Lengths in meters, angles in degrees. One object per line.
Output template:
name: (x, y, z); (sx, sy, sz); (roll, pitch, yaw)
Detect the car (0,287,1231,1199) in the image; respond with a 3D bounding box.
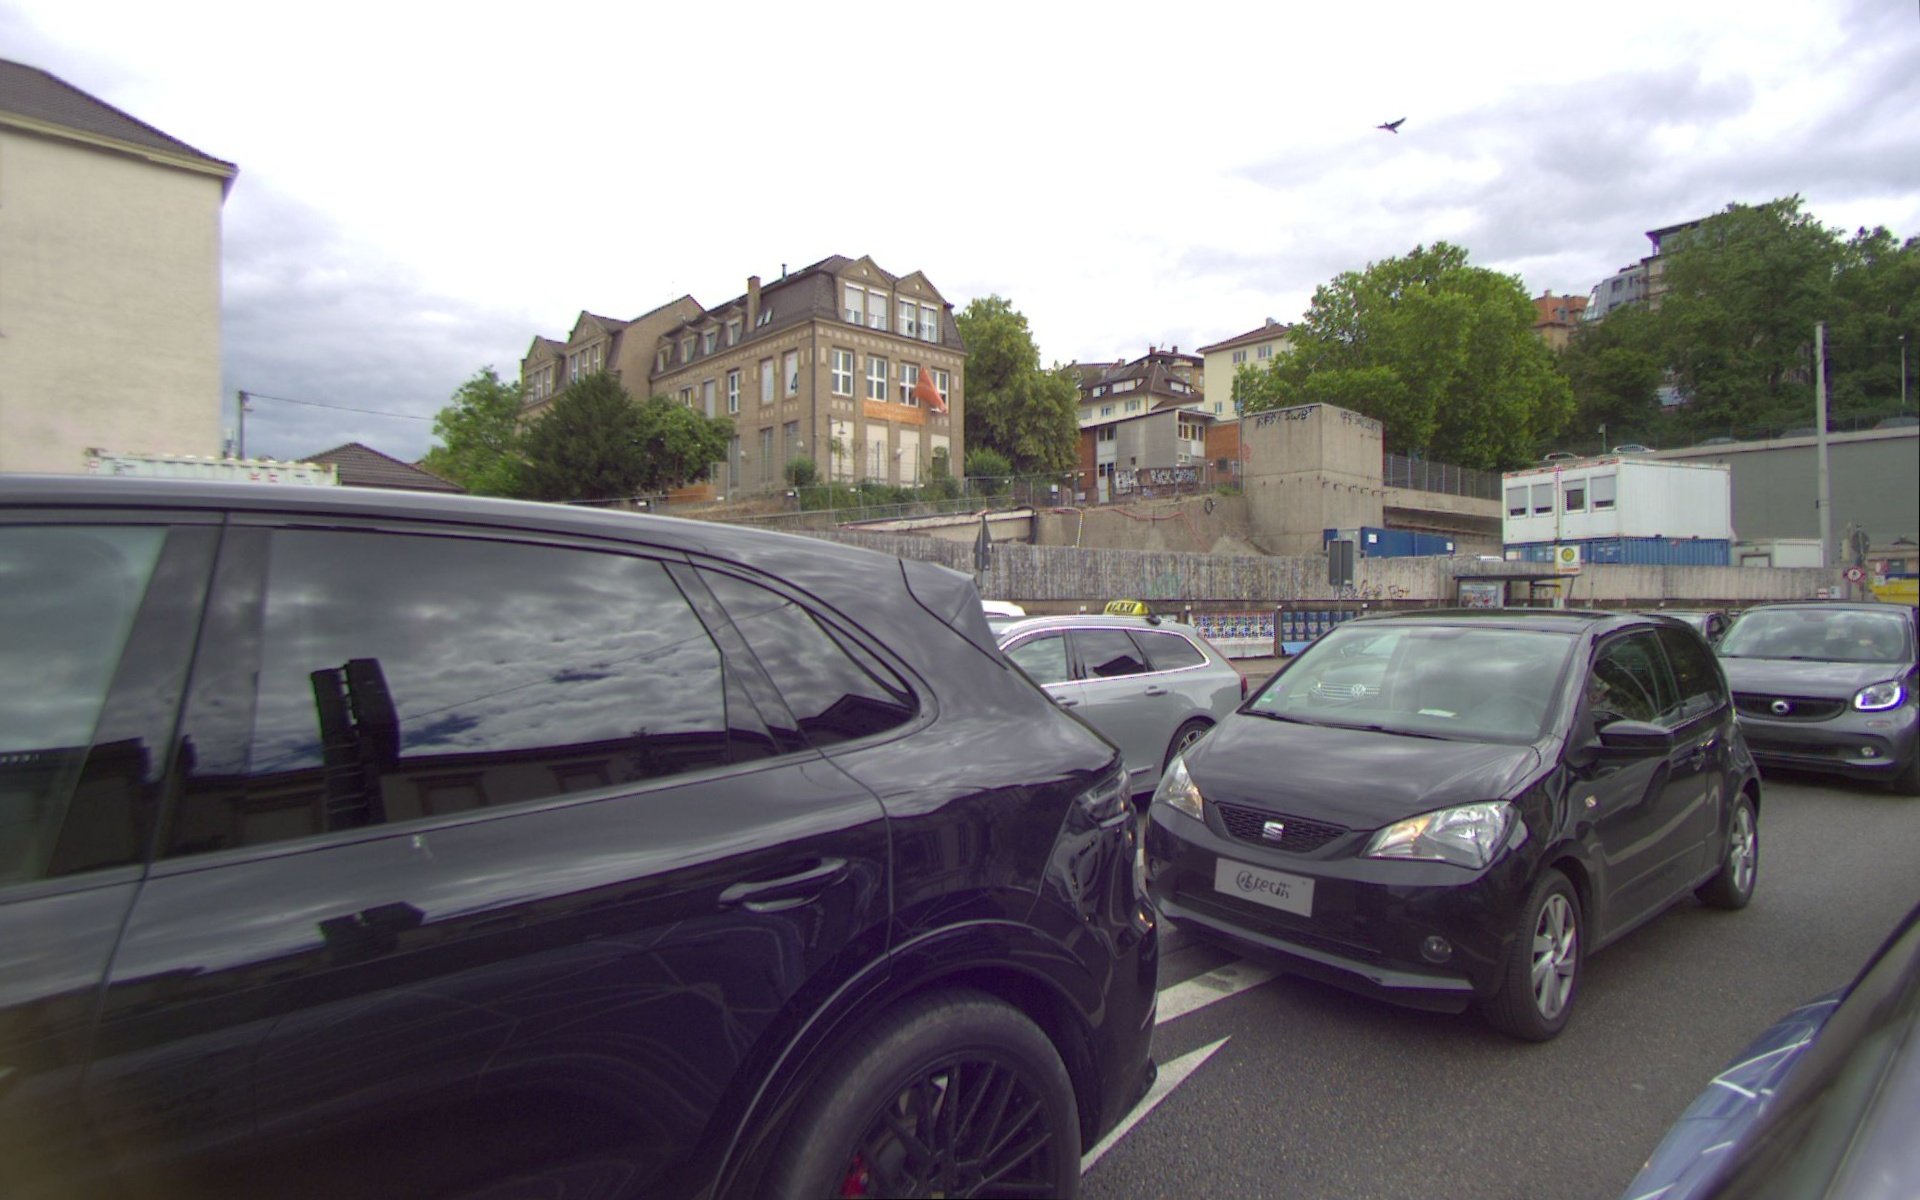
car: (-1.624, 0.559, 1.609); (4.406, 1.736, 1.827); (-1, 0, -41)

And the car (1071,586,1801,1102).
car: (2.434, 0.681, 4.800); (3.636, 1.476, 1.827); (-1, 0, -41)

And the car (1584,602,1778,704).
car: (11.504, 0.750, 16.065); (3.740, 1.383, 1.679); (-1, 0, -41)

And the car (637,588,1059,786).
car: (-1.010, 0.709, 10.487); (4.136, 1.645, 1.679); (-1, 0, -41)

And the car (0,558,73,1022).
car: (-5.306, 0.690, 3.047); (3.930, 1.645, 1.679); (-1, 0, -41)

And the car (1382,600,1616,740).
car: (6.569, 0.748, 12.288); (2.667, 1.449, 1.664); (-1, 0, -41)

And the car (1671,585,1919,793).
car: (8.107, 0.671, 9.319); (3.511, 1.563, 1.720); (0, 0, -40)

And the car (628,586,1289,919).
car: (0.267, 0.733, 7.270); (4.725, 1.645, 1.827); (-1, 0, -41)
